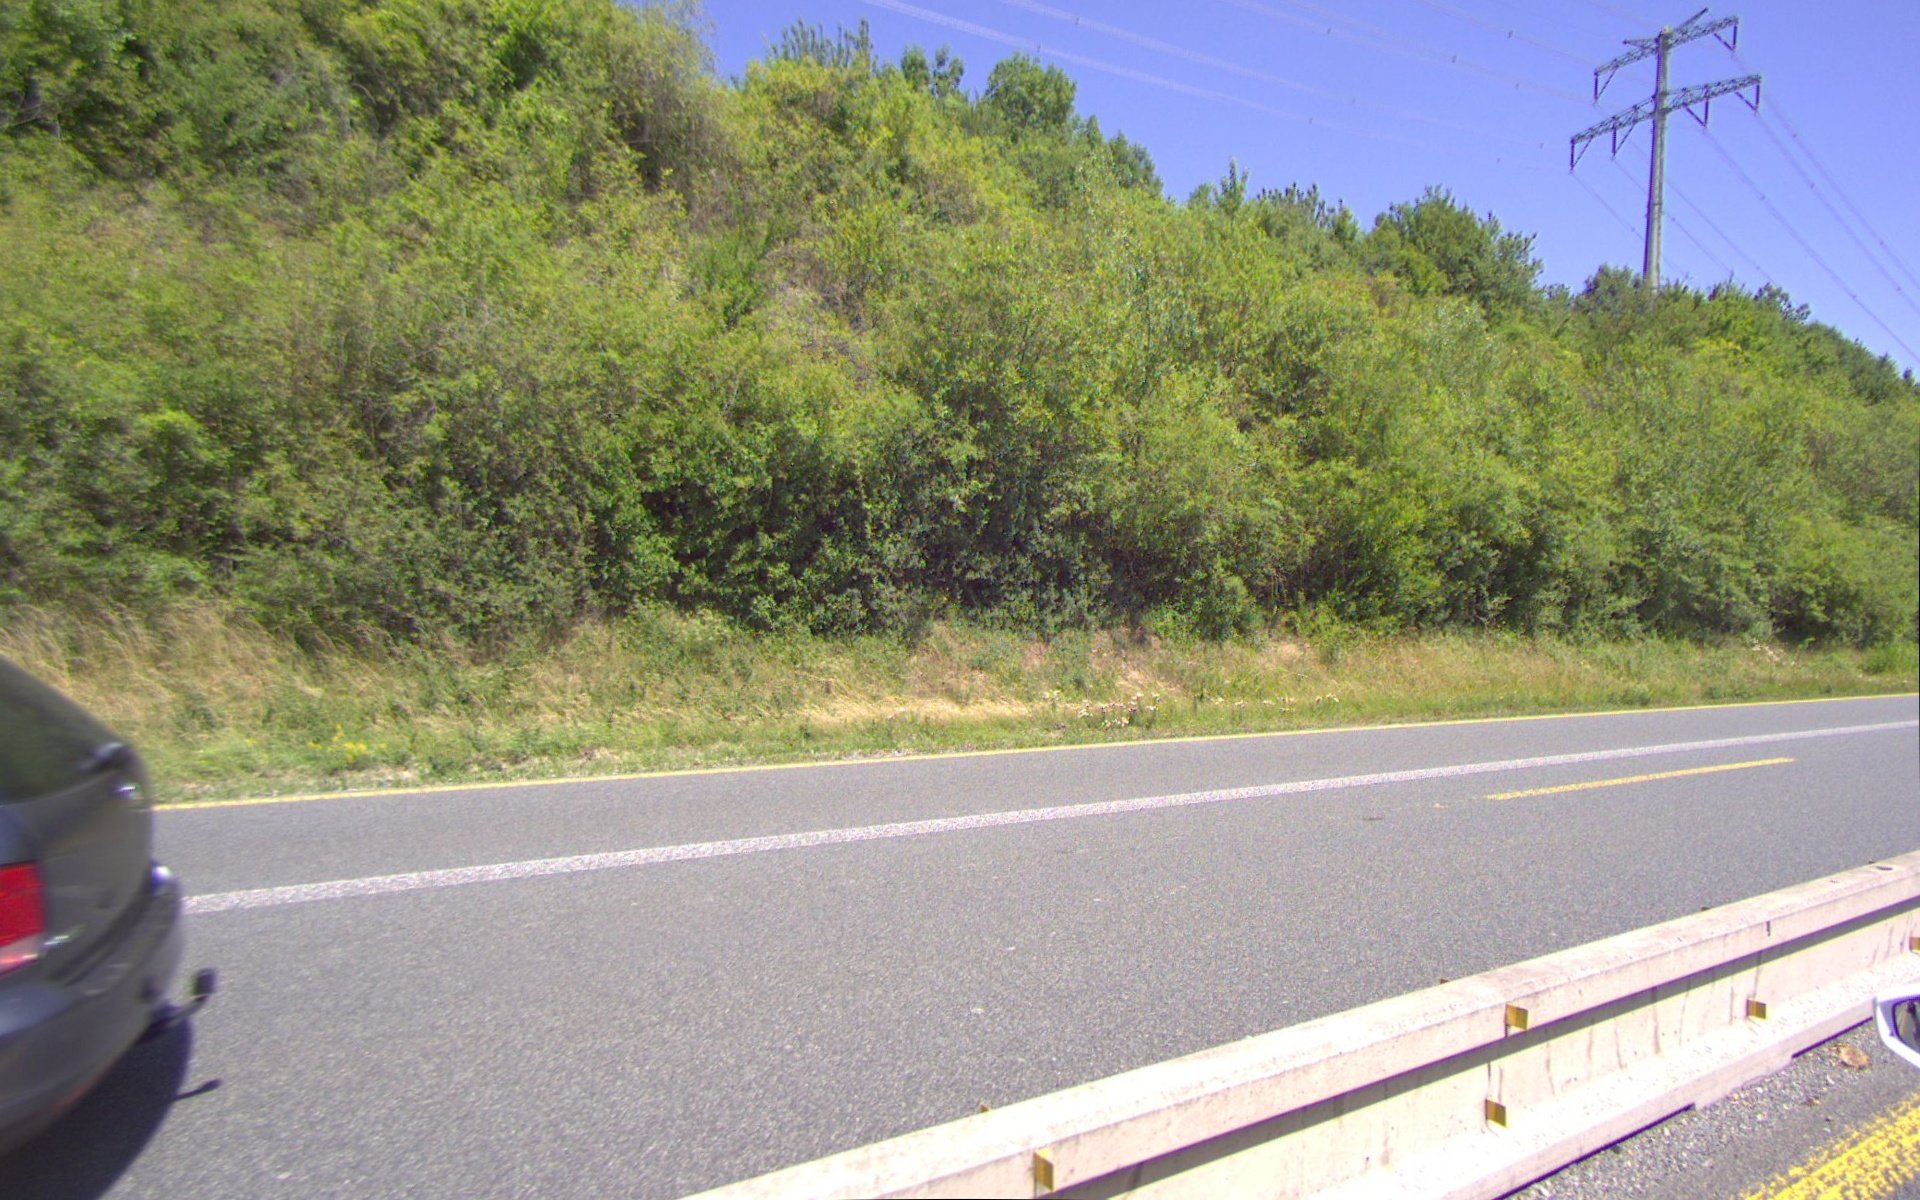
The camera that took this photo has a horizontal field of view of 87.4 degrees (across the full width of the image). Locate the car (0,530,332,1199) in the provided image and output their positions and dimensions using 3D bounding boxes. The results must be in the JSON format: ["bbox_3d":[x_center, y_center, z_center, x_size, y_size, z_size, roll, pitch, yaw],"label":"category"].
[{"bbox_3d":[-3.747,0.576,1.891,4.226,1.536,1.890,2,0,-30],"label":"car"}]
